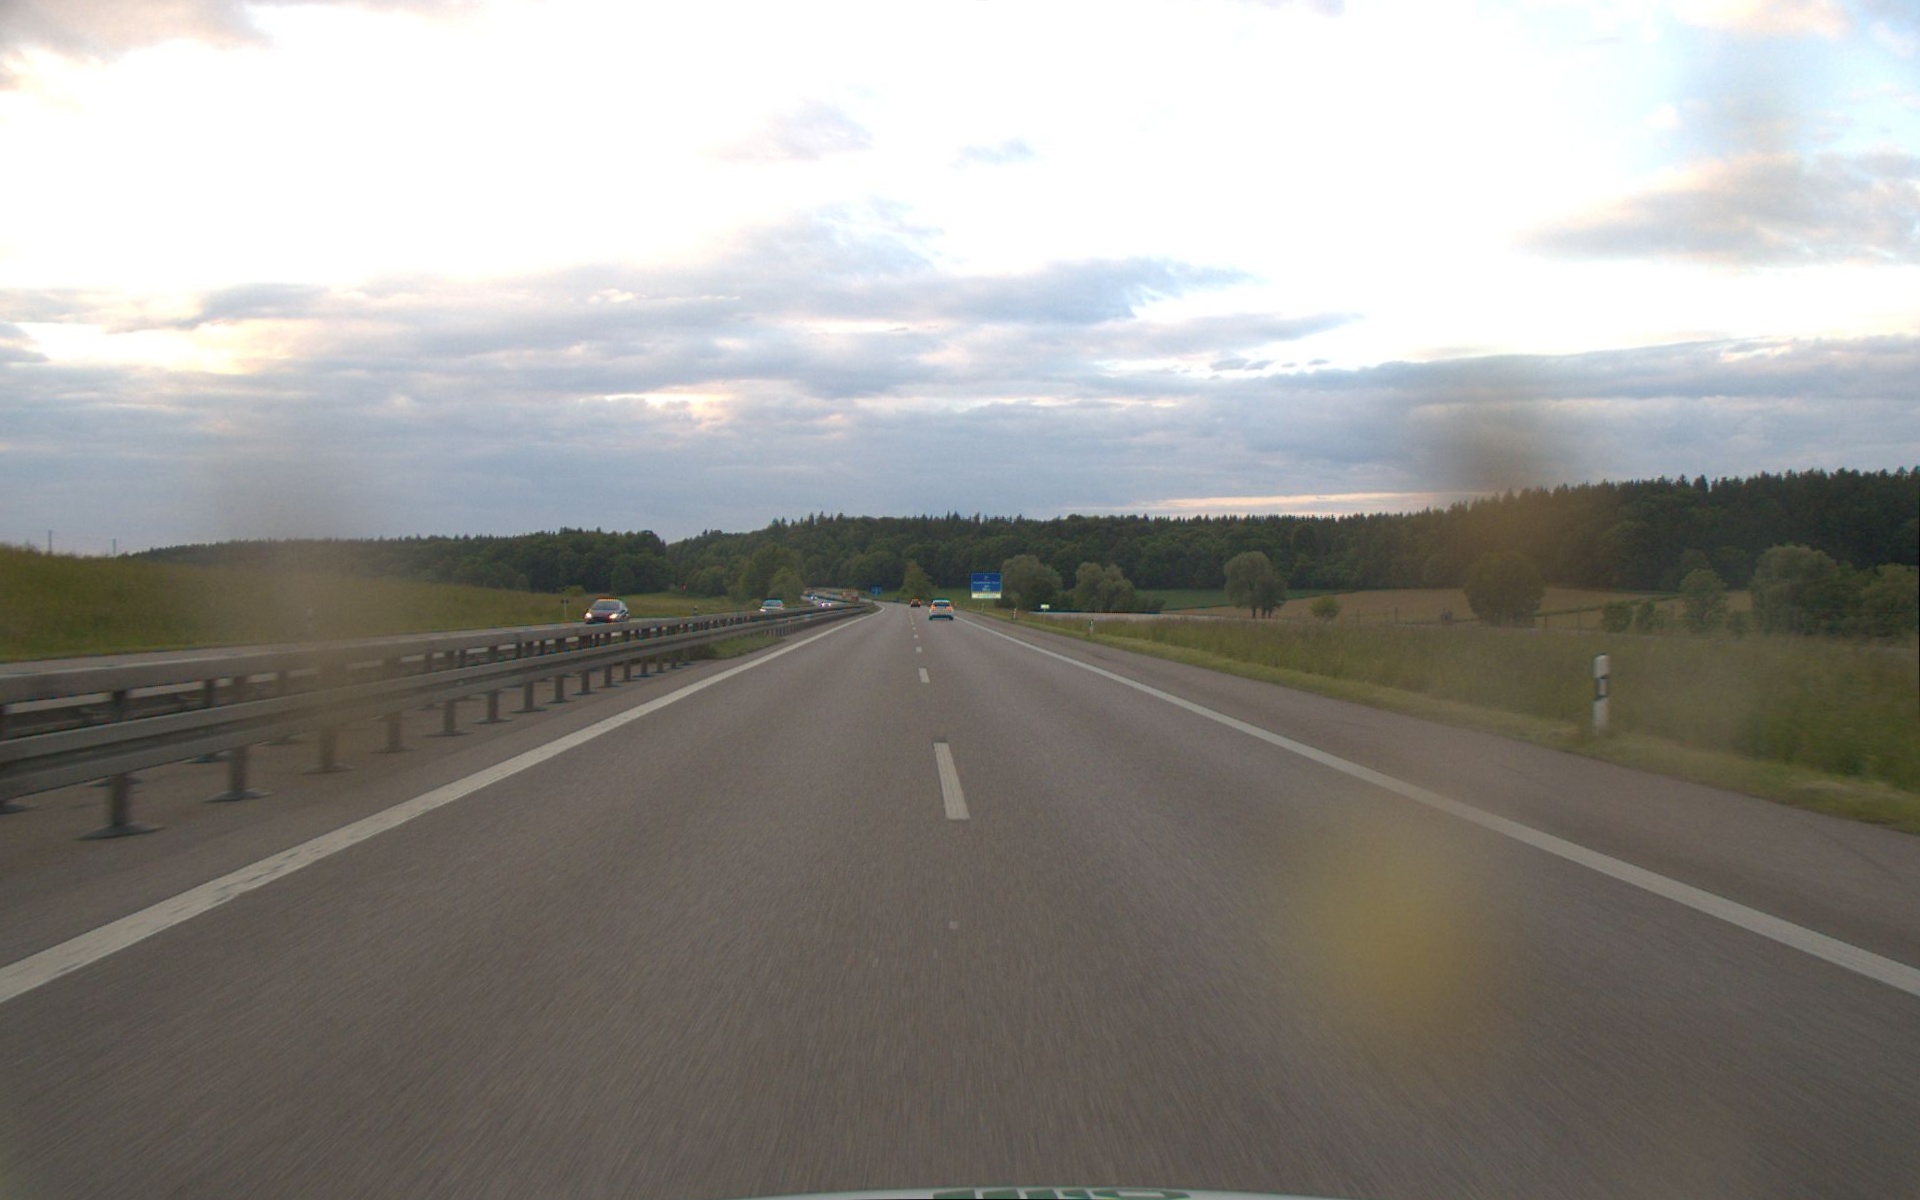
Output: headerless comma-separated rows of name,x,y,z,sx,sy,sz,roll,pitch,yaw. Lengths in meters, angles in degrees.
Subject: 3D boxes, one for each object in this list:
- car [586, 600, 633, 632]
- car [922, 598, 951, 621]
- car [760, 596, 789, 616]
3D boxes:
car,-17.118,0.777,80.886,1.497,1.458,4.432,2,0,-2
car,-1.799,0.695,123.536,1.913,1.558,4.077,2,0,-4
car,-14.571,0.483,130.092,1.703,1.482,5.120,2,0,-1
